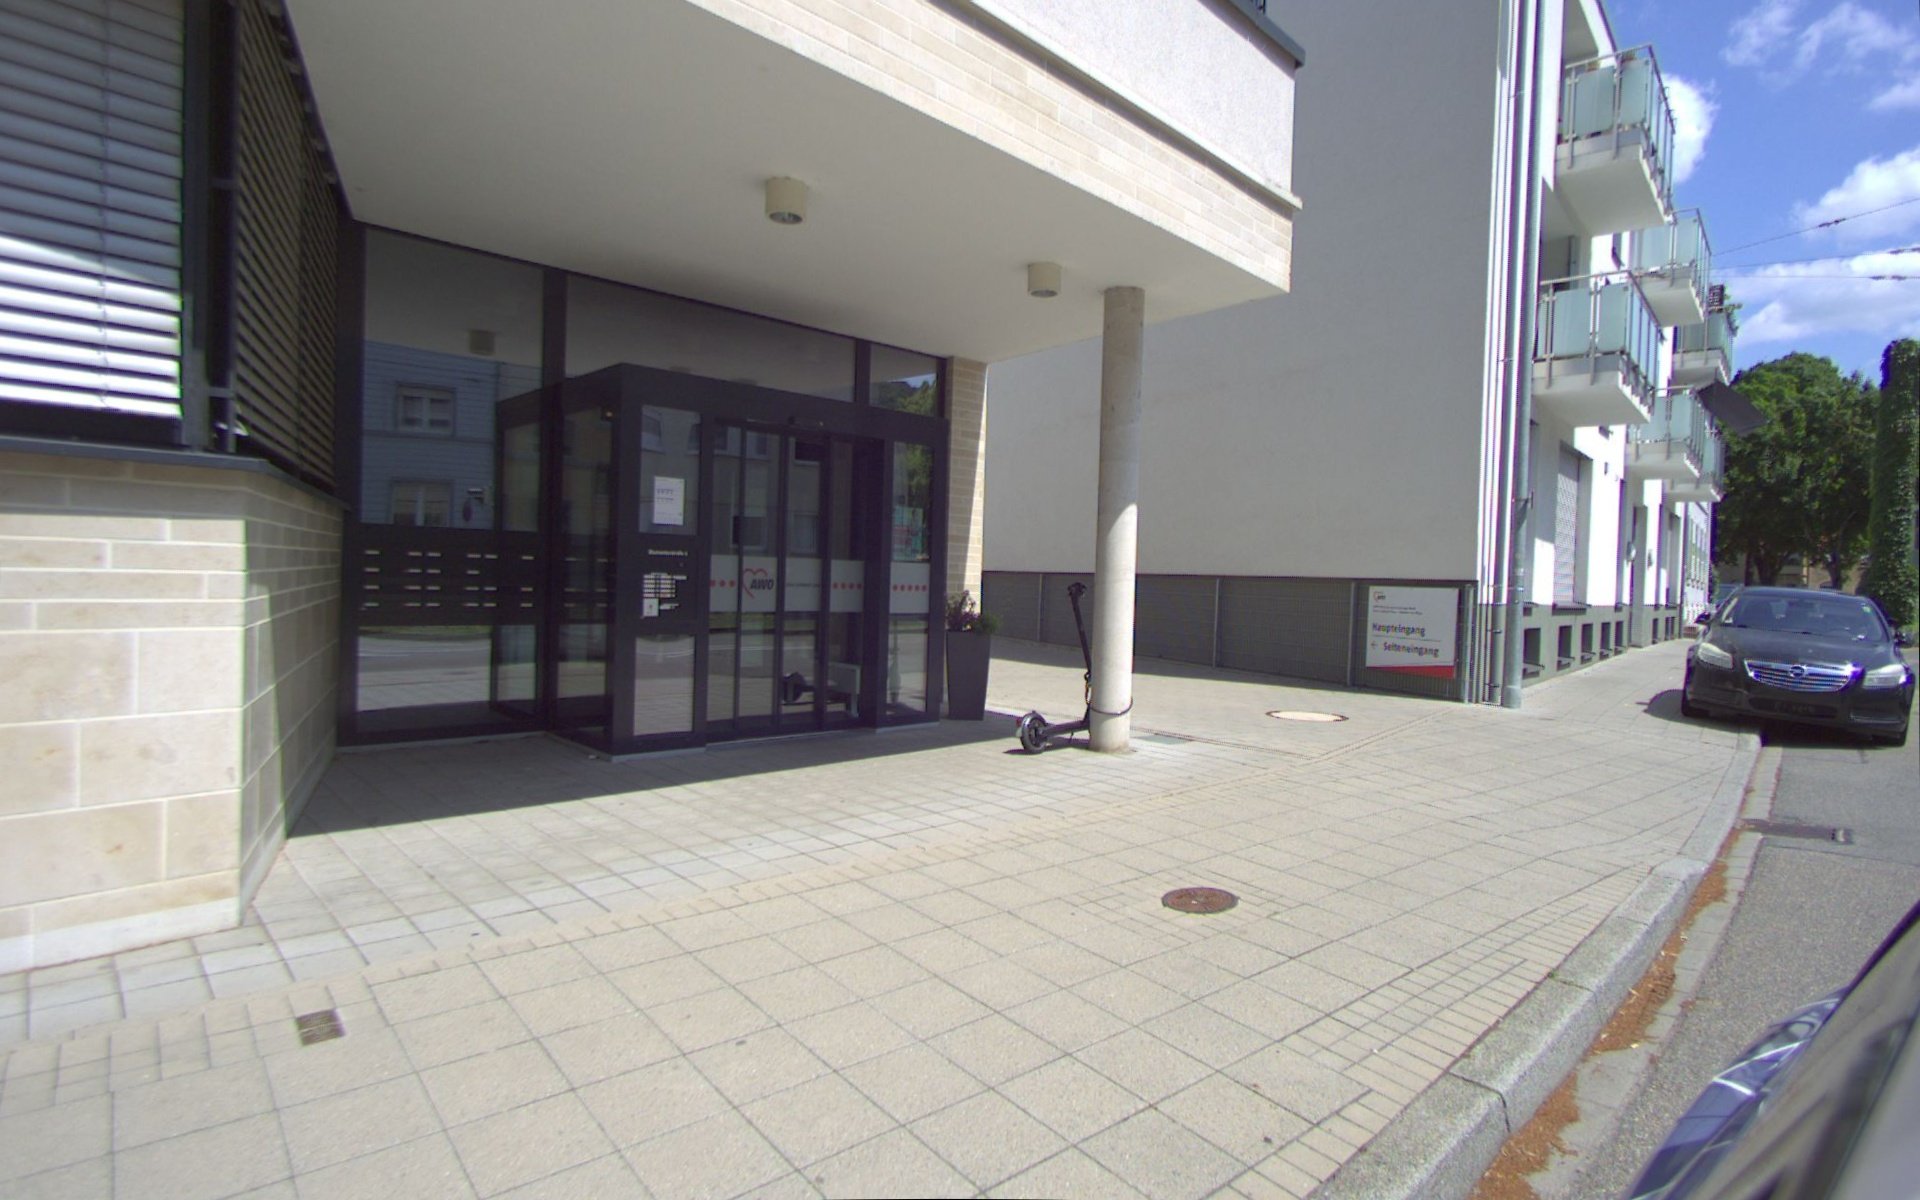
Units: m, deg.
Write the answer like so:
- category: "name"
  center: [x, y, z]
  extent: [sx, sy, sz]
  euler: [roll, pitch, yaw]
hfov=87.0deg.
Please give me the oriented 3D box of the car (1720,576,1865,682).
- category: "car"
  center: [13.818, 0.388, 16.821]
  extent: [1.592, 1.450, 3.653]
  euler: [7, 5, 40]

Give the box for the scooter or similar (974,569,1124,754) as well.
- category: "scooter or similar"
  center: [0.675, 0.405, 7.378]
  extent: [0.421, 1.226, 1.296]
  euler: [2, 1, 38]

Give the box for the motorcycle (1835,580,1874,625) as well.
- category: "motorcycle"
  center: [27.943, 0.066, 31.602]
  extent: [0.800, 1.369, 2.300]
  euler: [2, 1, 44]

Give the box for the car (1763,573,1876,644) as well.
- category: "car"
  center: [22.215, 0.153, 26.114]
  extent: [3.736, 1.630, 1.730]
  euler: [-1, 4, -43]

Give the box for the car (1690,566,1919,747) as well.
- category: "car"
  center: [9.508, 0.461, 11.395]
  extent: [1.797, 1.527, 4.485]
  euler: [6, 5, 38]

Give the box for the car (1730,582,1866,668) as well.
- category: "car"
  center: [17.058, 0.434, 20.539]
  extent: [1.728, 1.450, 3.978]
  euler: [7, 5, 44]
